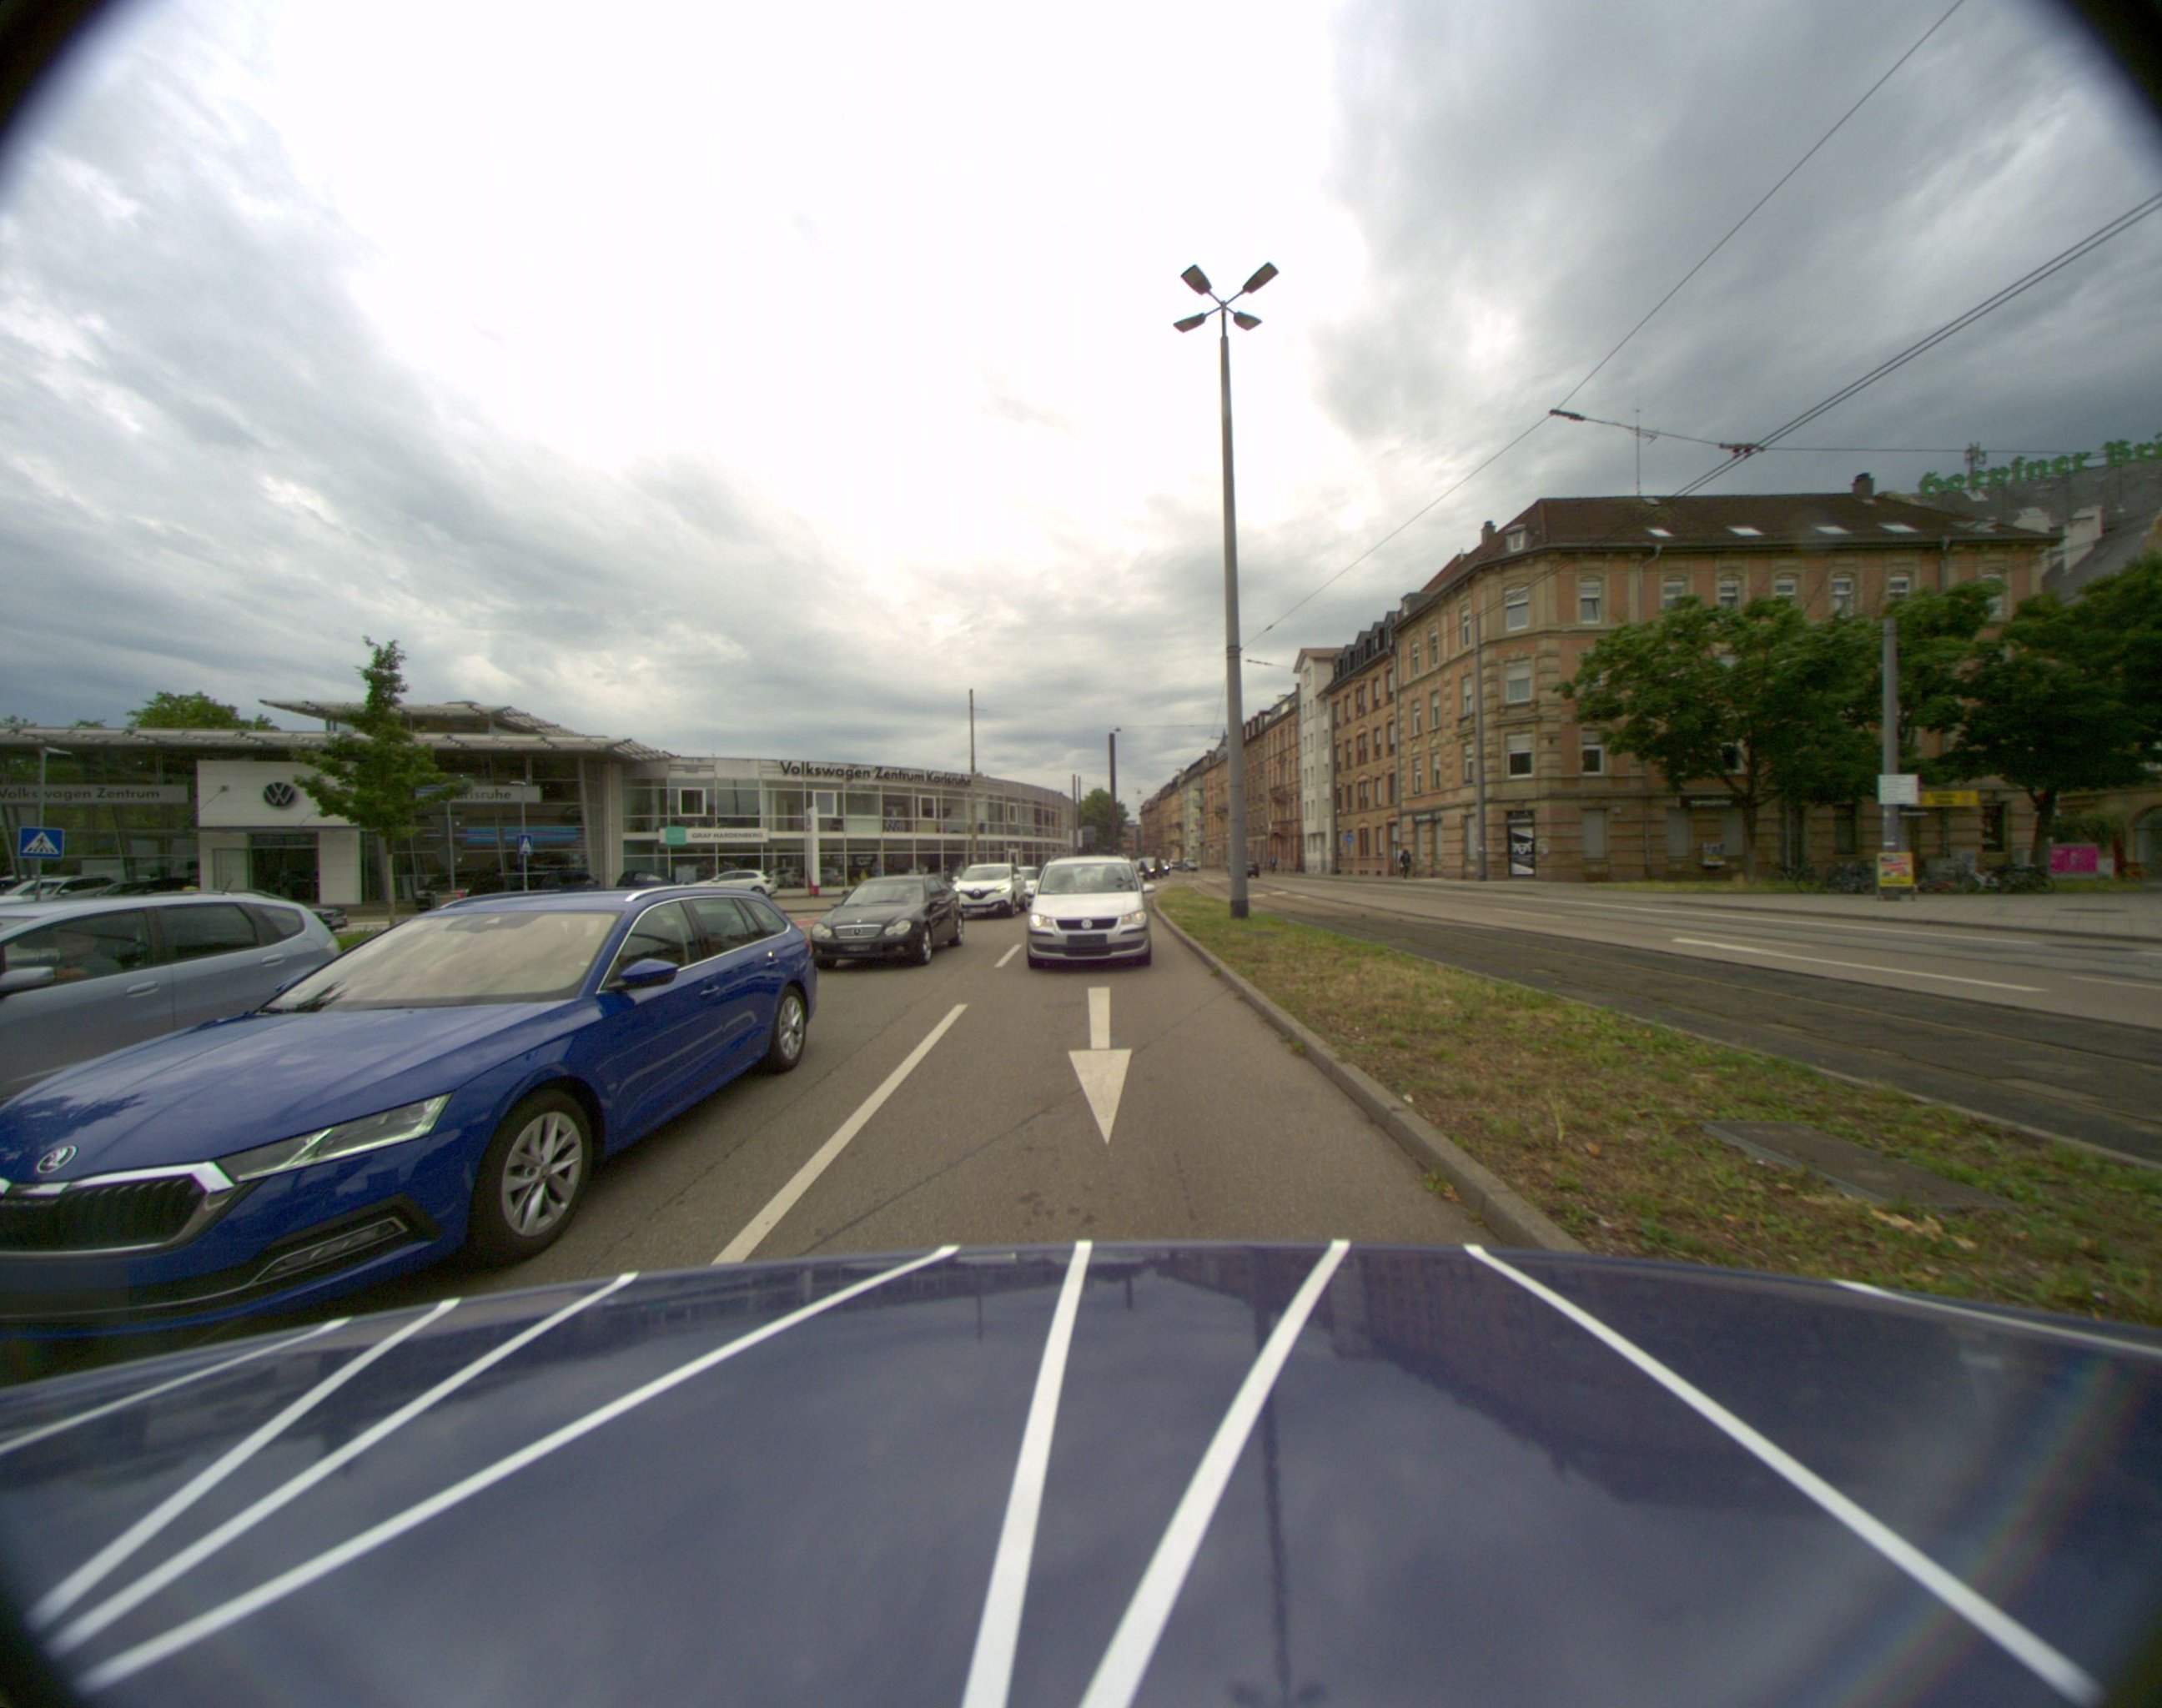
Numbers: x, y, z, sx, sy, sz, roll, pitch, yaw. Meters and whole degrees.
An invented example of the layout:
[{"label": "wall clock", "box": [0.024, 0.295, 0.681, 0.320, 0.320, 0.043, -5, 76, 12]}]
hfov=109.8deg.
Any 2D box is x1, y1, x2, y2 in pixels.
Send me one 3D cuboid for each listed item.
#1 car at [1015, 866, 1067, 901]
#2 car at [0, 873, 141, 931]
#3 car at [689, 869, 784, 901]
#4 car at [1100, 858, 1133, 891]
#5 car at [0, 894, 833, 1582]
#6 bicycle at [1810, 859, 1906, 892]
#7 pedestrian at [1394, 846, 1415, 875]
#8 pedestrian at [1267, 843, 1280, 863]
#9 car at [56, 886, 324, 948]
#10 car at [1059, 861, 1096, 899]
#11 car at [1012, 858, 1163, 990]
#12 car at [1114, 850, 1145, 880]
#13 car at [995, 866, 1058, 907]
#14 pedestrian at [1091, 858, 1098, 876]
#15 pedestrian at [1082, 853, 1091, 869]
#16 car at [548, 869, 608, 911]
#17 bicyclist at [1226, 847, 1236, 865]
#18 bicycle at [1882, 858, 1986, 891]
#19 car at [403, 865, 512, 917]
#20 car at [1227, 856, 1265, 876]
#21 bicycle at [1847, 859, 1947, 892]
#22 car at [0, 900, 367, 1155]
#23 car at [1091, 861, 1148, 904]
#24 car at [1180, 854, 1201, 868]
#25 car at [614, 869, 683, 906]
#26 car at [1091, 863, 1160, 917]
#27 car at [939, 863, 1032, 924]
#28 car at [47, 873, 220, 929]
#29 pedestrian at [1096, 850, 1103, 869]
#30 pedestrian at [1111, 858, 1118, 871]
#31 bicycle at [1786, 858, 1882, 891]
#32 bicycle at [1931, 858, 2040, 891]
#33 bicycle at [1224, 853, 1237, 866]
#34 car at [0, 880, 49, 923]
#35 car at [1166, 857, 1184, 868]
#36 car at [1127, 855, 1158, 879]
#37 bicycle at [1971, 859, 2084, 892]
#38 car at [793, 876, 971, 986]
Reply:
[{"label": "car", "box": [-1.759, 1.280, 34.631, 1.907, 1.428, 3.973, -1, 0, 3]}, {"label": "car", "box": [-40.199, 1.826, 29.711, 1.958, 1.589, 4.221, -1, 6, -12]}, {"label": "car", "box": [-16.909, 1.489, 37.412, 3.907, 1.432, 1.731, -1, 0, -10]}, {"label": "car", "box": [2.305, 1.306, 49.677, 1.998, 2.002, 4.000, -1, 0, 1]}, {"label": "car", "box": [-3.048, 1.089, 4.227, 1.770, 1.428, 4.757, -2, 0, -1]}, {"label": "bicycle", "box": [25.893, 0.704, 25.392, 0.754, 1.024, 2.396, -1, 0, 0]}, {"label": "pedestrian", "box": [18.669, 0.369, 43.816, 0.812, 1.666, 0.798, -1, 0, -3]}, {"label": "pedestrian", "box": [18.051, -0.069, 71.096, 0.921, 1.822, 0.719, -2, 1, -35]}, {"label": "car", "box": [-25.570, 1.776, 22.027, 4.884, 1.534, 1.889, -1, 0, -12]}, {"label": "car", "box": [-0.141, 1.461, 44.115, 1.998, 2.002, 4.000, -1, 0, 1]}, {"label": "car", "box": [0.128, 0.901, 12.143, 1.863, 1.609, 5.062, -2, 0, 1]}, {"label": "car", "box": [3.454, 0.774, 54.795, 1.998, 2.002, 4.000, -1, 0, 1]}, {"label": "car", "box": [-2.050, 1.210, 29.652, 1.907, 1.428, 3.973, -1, 0, 3]}, {"label": "pedestrian", "box": [1.274, 1.208, 72.567, 0.663, 1.671, 0.650, -1, 0, -1]}, {"label": "pedestrian", "box": [0.685, 0.939, 101.678, 1.177, 2.002, 1.032, -1, 0, 0]}, {"label": "car", "box": [-22.188, 1.523, 33.439, 1.961, 1.516, 4.218, -1, 1, -36]}, {"label": "bicyclist", "box": [15.511, 0.247, 78.741, 0.824, 1.855, 0.924, -1, 0, 0]}, {"label": "bicycle", "box": [28.291, 0.654, 25.269, 0.754, 1.024, 2.396, -1, 0, 0]}, {"label": "car", "box": [-26.474, 1.492, 32.489, 1.959, 1.634, 4.664, -1, 4, -17]}, {"label": "car", "box": [12.804, 0.874, 59.210, 1.888, 1.461, 4.463, -1, 0, -2]}, {"label": "bicycle", "box": [27.122, 0.692, 25.316, 0.754, 1.024, 2.396, -1, 0, 0]}, {"label": "car", "box": [-7.735, 1.207, 5.339, 1.709, 1.474, 3.933, -2, 0, -1]}, {"label": "car", "box": [1.456, 1.033, 28.772, 1.972, 1.447, 4.194, -1, 0, 3]}, {"label": "car", "box": [13.015, 0.789, 90.655, 1.835, 1.635, 4.230, -1, 0, -2]}, {"label": "car", "box": [-19.932, 1.495, 34.966, 1.795, 1.551, 4.023, -1, 0, -44]}, {"label": "car", "box": [1.227, 0.994, 22.433, 1.810, 1.398, 3.983, -1, 0, 1]}, {"label": "car", "box": [-2.735, 1.104, 22.743, 1.982, 1.550, 4.146, -3, 0, 3]}, {"label": "car", "box": [-37.409, 1.798, 30.220, 1.958, 1.449, 4.220, -1, 7, -12]}, {"label": "pedestrian", "box": [1.838, 0.553, 77.296, 0.652, 1.904, 0.602, -1, 0, 0]}, {"label": "pedestrian", "box": [5.106, 1.627, 117.447, 1.004, 2.002, 0.908, -1, 0, 0]}, {"label": "bicycle", "box": [25.082, 0.651, 25.382, 0.837, 1.024, 2.396, -1, 0, 0]}, {"label": "bicycle", "box": [29.775, 0.639, 25.091, 0.754, 1.024, 2.396, -1, 0, 0]}, {"label": "bicycle", "box": [15.517, 0.558, 78.836, 0.799, 1.285, 2.411, -1, 0, 0]}, {"label": "car", "box": [-42.964, 1.989, 28.924, 1.958, 1.459, 4.222, -1, 5, -12]}, {"label": "car", "box": [12.724, 1.120, 102.848, 1.815, 1.423, 4.017, -1, 0, -2]}, {"label": "car", "box": [4.877, 1.002, 60.824, 2.372, 1.744, 5.131, -1, 0, 3]}, {"label": "bicycle", "box": [31.187, 0.674, 25.098, 0.754, 1.024, 2.396, -1, 0, 0]}, {"label": "car", "box": [-3.120, 1.155, 12.931, 1.770, 1.362, 4.422, -2, 0, 1]}]
